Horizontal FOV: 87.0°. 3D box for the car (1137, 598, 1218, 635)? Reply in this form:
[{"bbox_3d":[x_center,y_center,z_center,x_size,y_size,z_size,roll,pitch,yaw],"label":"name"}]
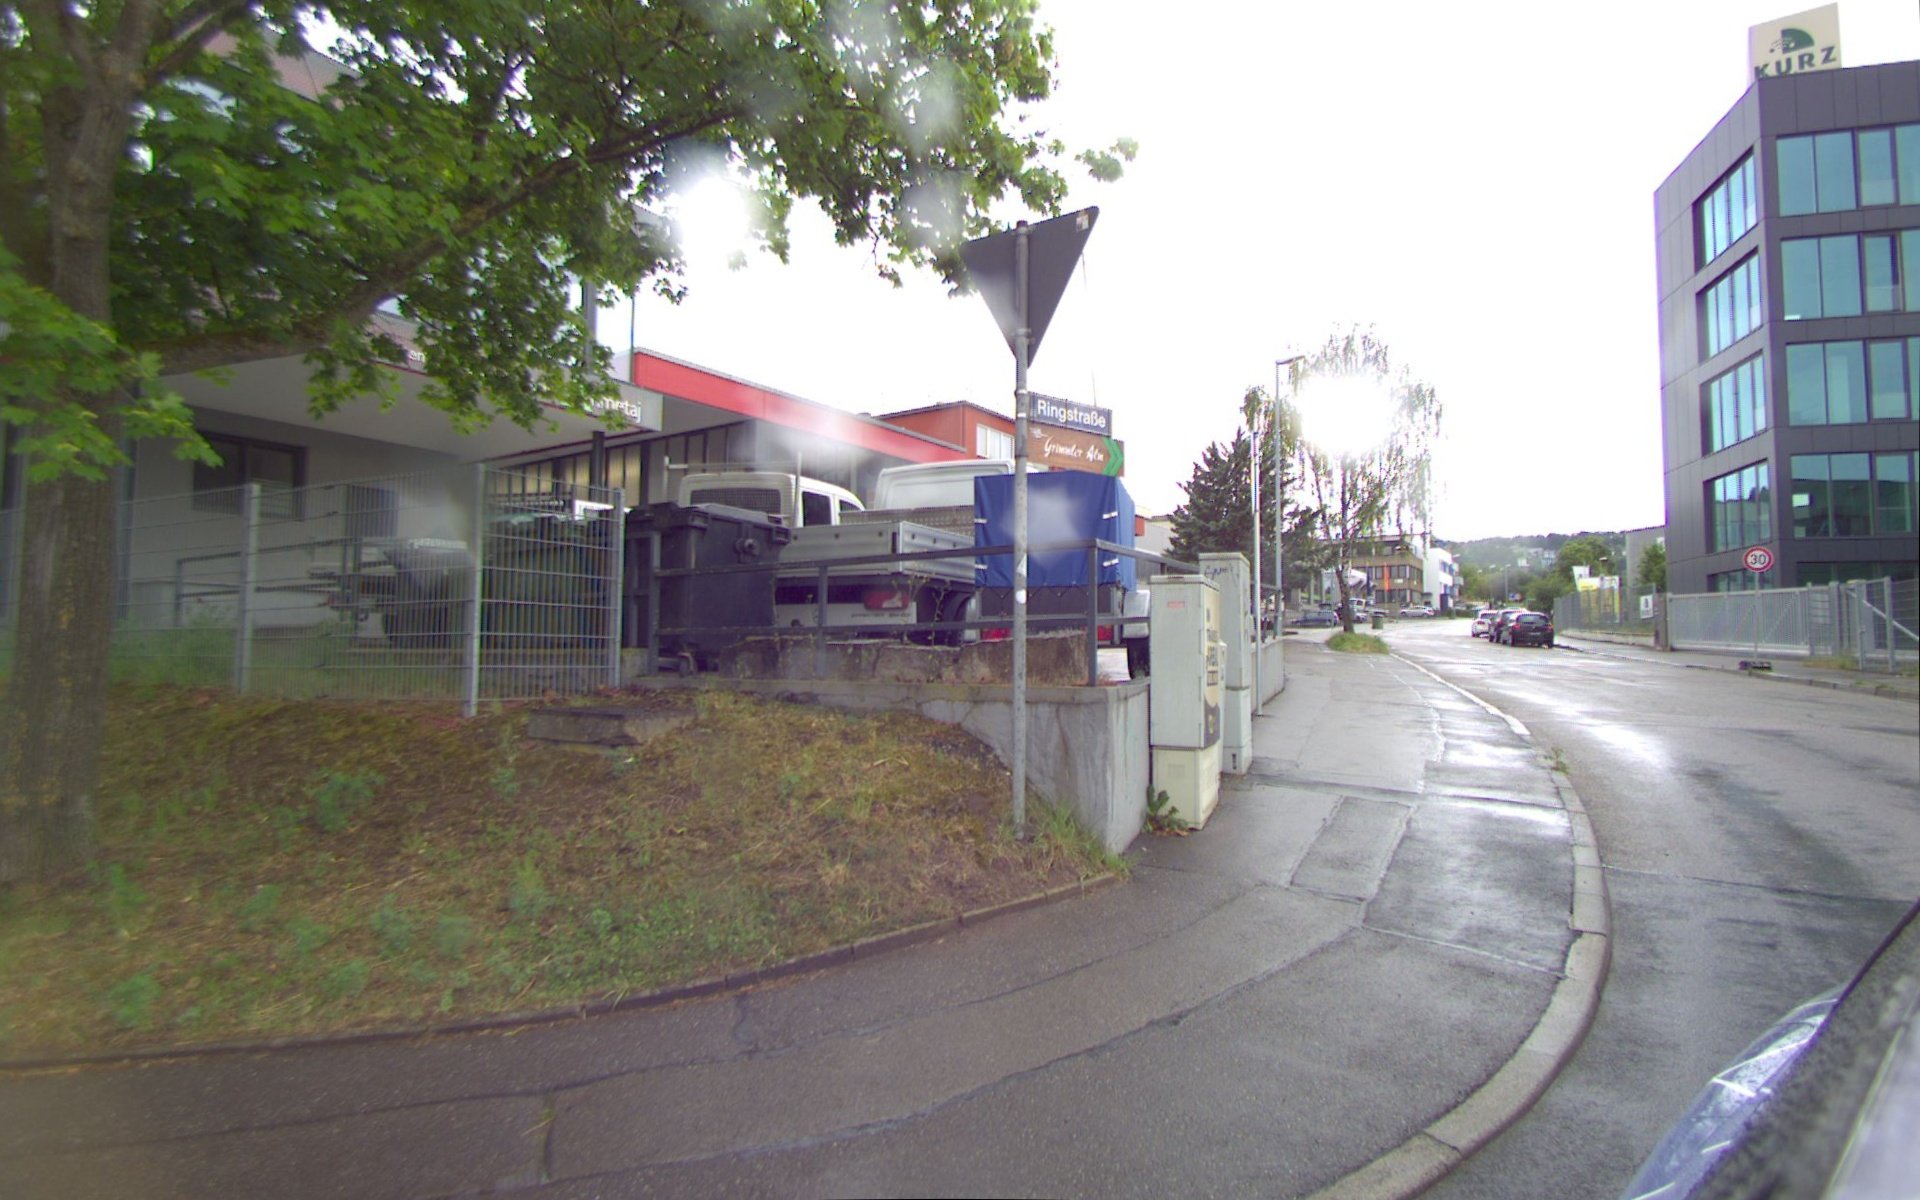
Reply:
[{"bbox_3d":[10.200,0.760,47.259,1.990,1.599,4.451,-3,-2,37],"label":"car"}]

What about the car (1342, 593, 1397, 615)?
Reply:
[{"bbox_3d":[44.203,0.461,109.188,5.125,2.323,2.173,-1,-1,37],"label":"car"}]

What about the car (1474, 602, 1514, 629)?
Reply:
[{"bbox_3d":[31.560,0.886,59.871,1.721,1.555,4.216,-1,-1,23],"label":"car"}]

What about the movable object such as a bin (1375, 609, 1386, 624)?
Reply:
[{"bbox_3d":[32.354,1.280,77.781,0.730,1.104,0.588,0,-1,29],"label":"movable object such as a bin"}]

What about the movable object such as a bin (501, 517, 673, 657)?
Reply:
[{"bbox_3d":[-3.044,-0.099,8.284,1.045,1.056,0.874,0,-1,33],"label":"movable object such as a bin"}]

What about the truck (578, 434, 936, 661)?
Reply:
[{"bbox_3d":[-2.346,-0.540,13.210,2.226,2.371,4.795,0,0,25],"label":"truck"}]

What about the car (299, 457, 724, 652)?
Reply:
[{"bbox_3d":[-5.539,-0.466,13.272,2.044,2.039,4.888,0,0,29],"label":"car"}]

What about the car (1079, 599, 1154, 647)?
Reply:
[{"bbox_3d":[6.471,0.903,41.550,1.980,1.861,3.963,0,0,27],"label":"car"}]

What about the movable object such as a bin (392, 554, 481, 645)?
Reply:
[{"bbox_3d":[-4.818,-0.003,9.326,0.519,0.812,0.534,0,-1,30],"label":"movable object such as a bin"}]

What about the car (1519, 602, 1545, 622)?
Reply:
[{"bbox_3d":[56.712,1.178,100.358,1.980,1.938,3.962,0,-1,27],"label":"car"}]

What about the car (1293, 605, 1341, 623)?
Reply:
[{"bbox_3d":[30.648,1.204,86.899,3.723,1.560,1.612,0,-1,33],"label":"car"}]

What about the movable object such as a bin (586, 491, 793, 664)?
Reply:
[{"bbox_3d":[-2.026,-0.151,7.636,1.133,1.177,1.016,0,-1,30],"label":"movable object such as a bin"}]

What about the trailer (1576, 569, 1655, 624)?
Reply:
[{"bbox_3d":[50.875,-0.272,78.659,2.338,4.141,4.709,0,-1,-17],"label":"trailer"}]

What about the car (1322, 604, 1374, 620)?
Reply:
[{"bbox_3d":[38.731,1.178,101.062,4.595,1.516,1.917,0,-1,35],"label":"car"}]

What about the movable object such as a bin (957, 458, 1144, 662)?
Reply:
[{"bbox_3d":[0.834,-0.294,8.625,1.292,1.519,1.849,0,-1,15],"label":"movable object such as a bin"}]

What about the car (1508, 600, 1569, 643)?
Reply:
[{"bbox_3d":[25.430,0.905,44.581,1.724,1.820,3.930,0,0,21],"label":"car"}]

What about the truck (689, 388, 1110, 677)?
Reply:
[{"bbox_3d":[-0.217,-0.515,10.839,2.091,2.242,5.602,0,0,25],"label":"truck"}]

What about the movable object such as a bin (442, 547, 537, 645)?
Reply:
[{"bbox_3d":[-4.112,-0.032,8.851,0.561,0.828,0.534,0,-1,30],"label":"movable object such as a bin"}]

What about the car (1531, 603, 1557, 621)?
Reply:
[{"bbox_3d":[67.840,1.399,117.470,1.990,2.039,3.942,0,-1,40],"label":"car"}]

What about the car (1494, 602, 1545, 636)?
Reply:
[{"bbox_3d":[27.314,0.921,49.485,1.618,1.578,4.054,0,-1,21],"label":"car"}]
